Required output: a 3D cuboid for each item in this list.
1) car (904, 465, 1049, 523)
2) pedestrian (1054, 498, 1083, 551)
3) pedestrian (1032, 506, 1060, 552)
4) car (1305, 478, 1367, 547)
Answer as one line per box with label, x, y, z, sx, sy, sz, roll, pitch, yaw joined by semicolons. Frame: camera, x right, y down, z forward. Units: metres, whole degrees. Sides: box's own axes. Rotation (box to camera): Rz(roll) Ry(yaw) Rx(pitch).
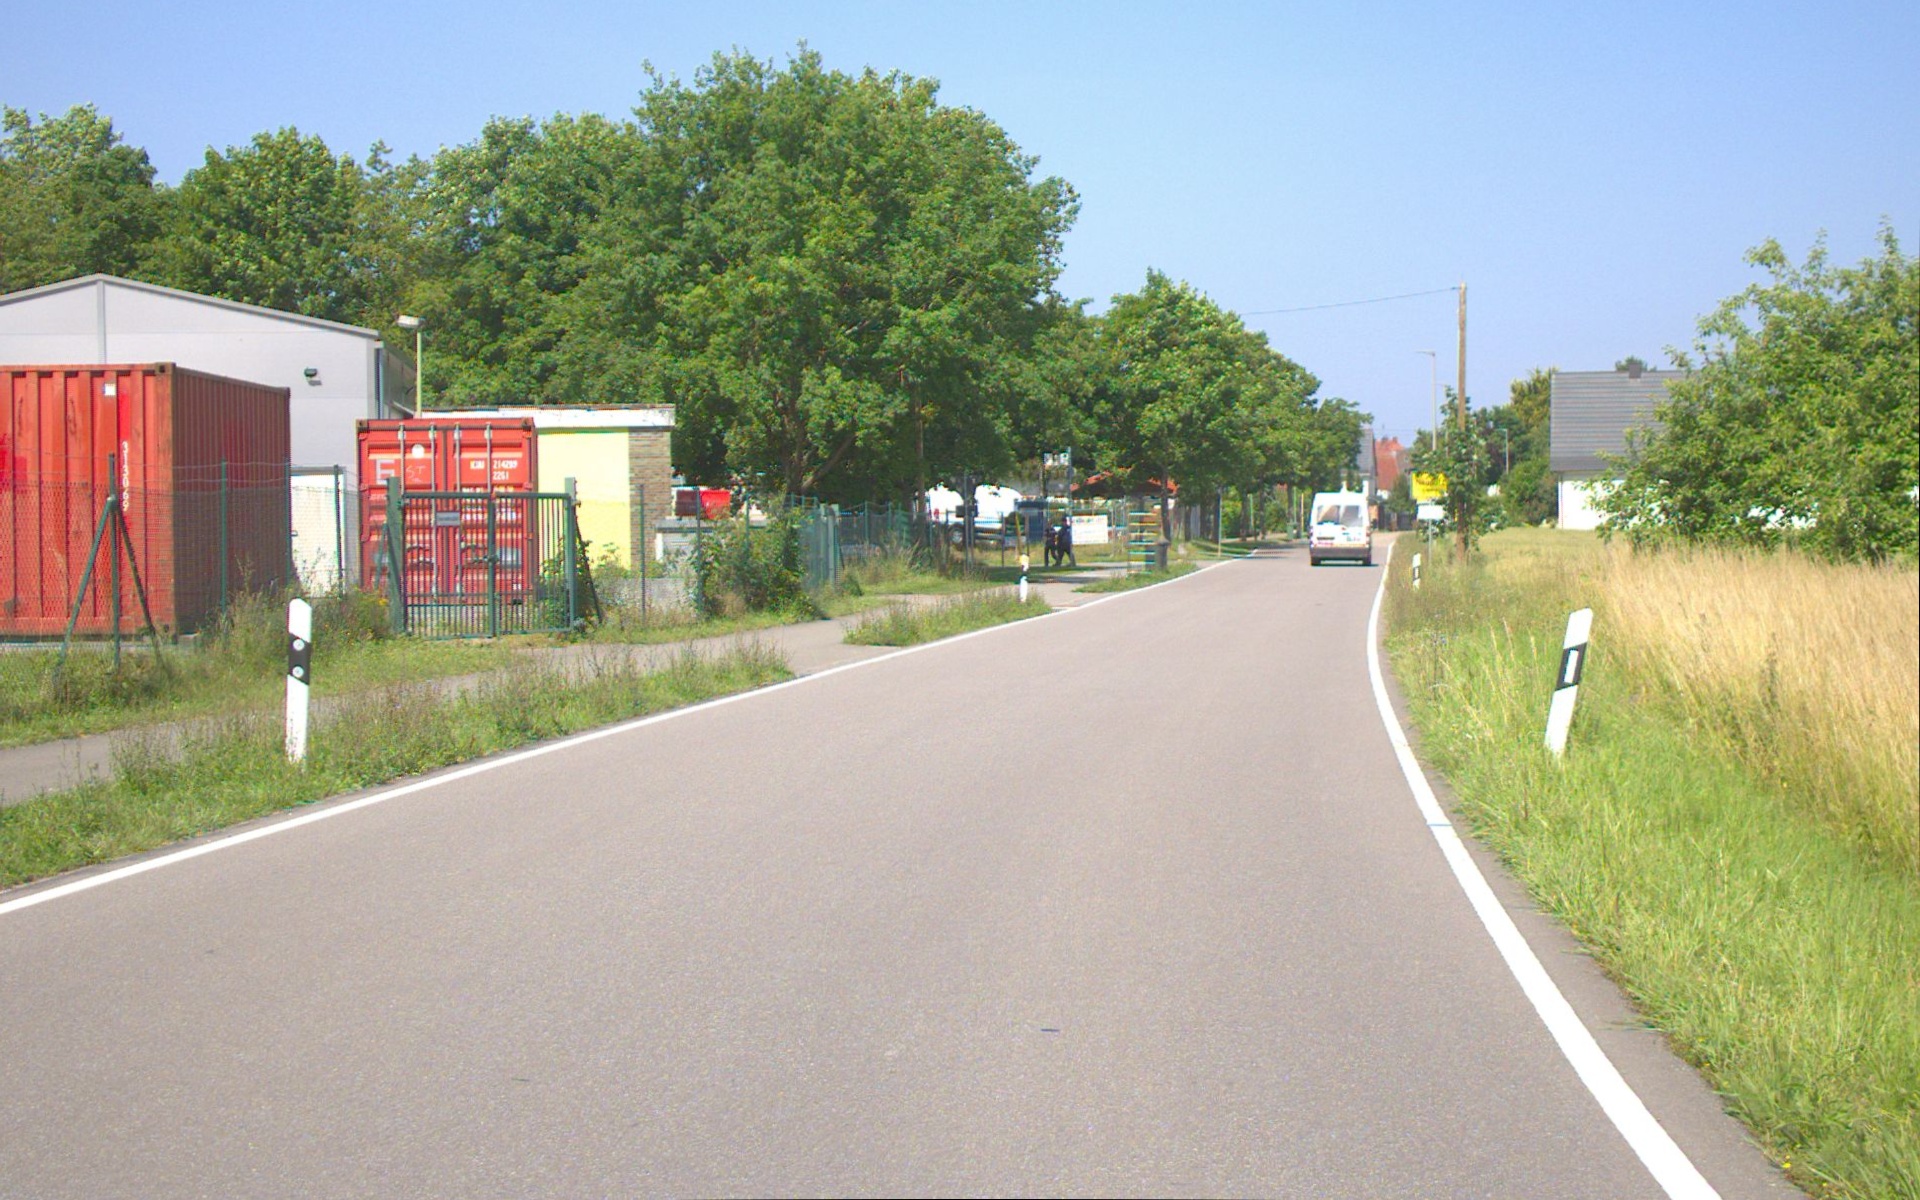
car;0.682;-4.291;139.289;5.595;2.258;2.000;-2;2;-31
pedestrian;3.746;-2.592;118.501;0.721;1.796;0.709;0;2;30
pedestrian;2.935;-2.439;117.816;0.678;1.560;0.718;0;2;30
car;12.814;-2.980;117.055;1.994;2.258;4.725;-1;2;7
